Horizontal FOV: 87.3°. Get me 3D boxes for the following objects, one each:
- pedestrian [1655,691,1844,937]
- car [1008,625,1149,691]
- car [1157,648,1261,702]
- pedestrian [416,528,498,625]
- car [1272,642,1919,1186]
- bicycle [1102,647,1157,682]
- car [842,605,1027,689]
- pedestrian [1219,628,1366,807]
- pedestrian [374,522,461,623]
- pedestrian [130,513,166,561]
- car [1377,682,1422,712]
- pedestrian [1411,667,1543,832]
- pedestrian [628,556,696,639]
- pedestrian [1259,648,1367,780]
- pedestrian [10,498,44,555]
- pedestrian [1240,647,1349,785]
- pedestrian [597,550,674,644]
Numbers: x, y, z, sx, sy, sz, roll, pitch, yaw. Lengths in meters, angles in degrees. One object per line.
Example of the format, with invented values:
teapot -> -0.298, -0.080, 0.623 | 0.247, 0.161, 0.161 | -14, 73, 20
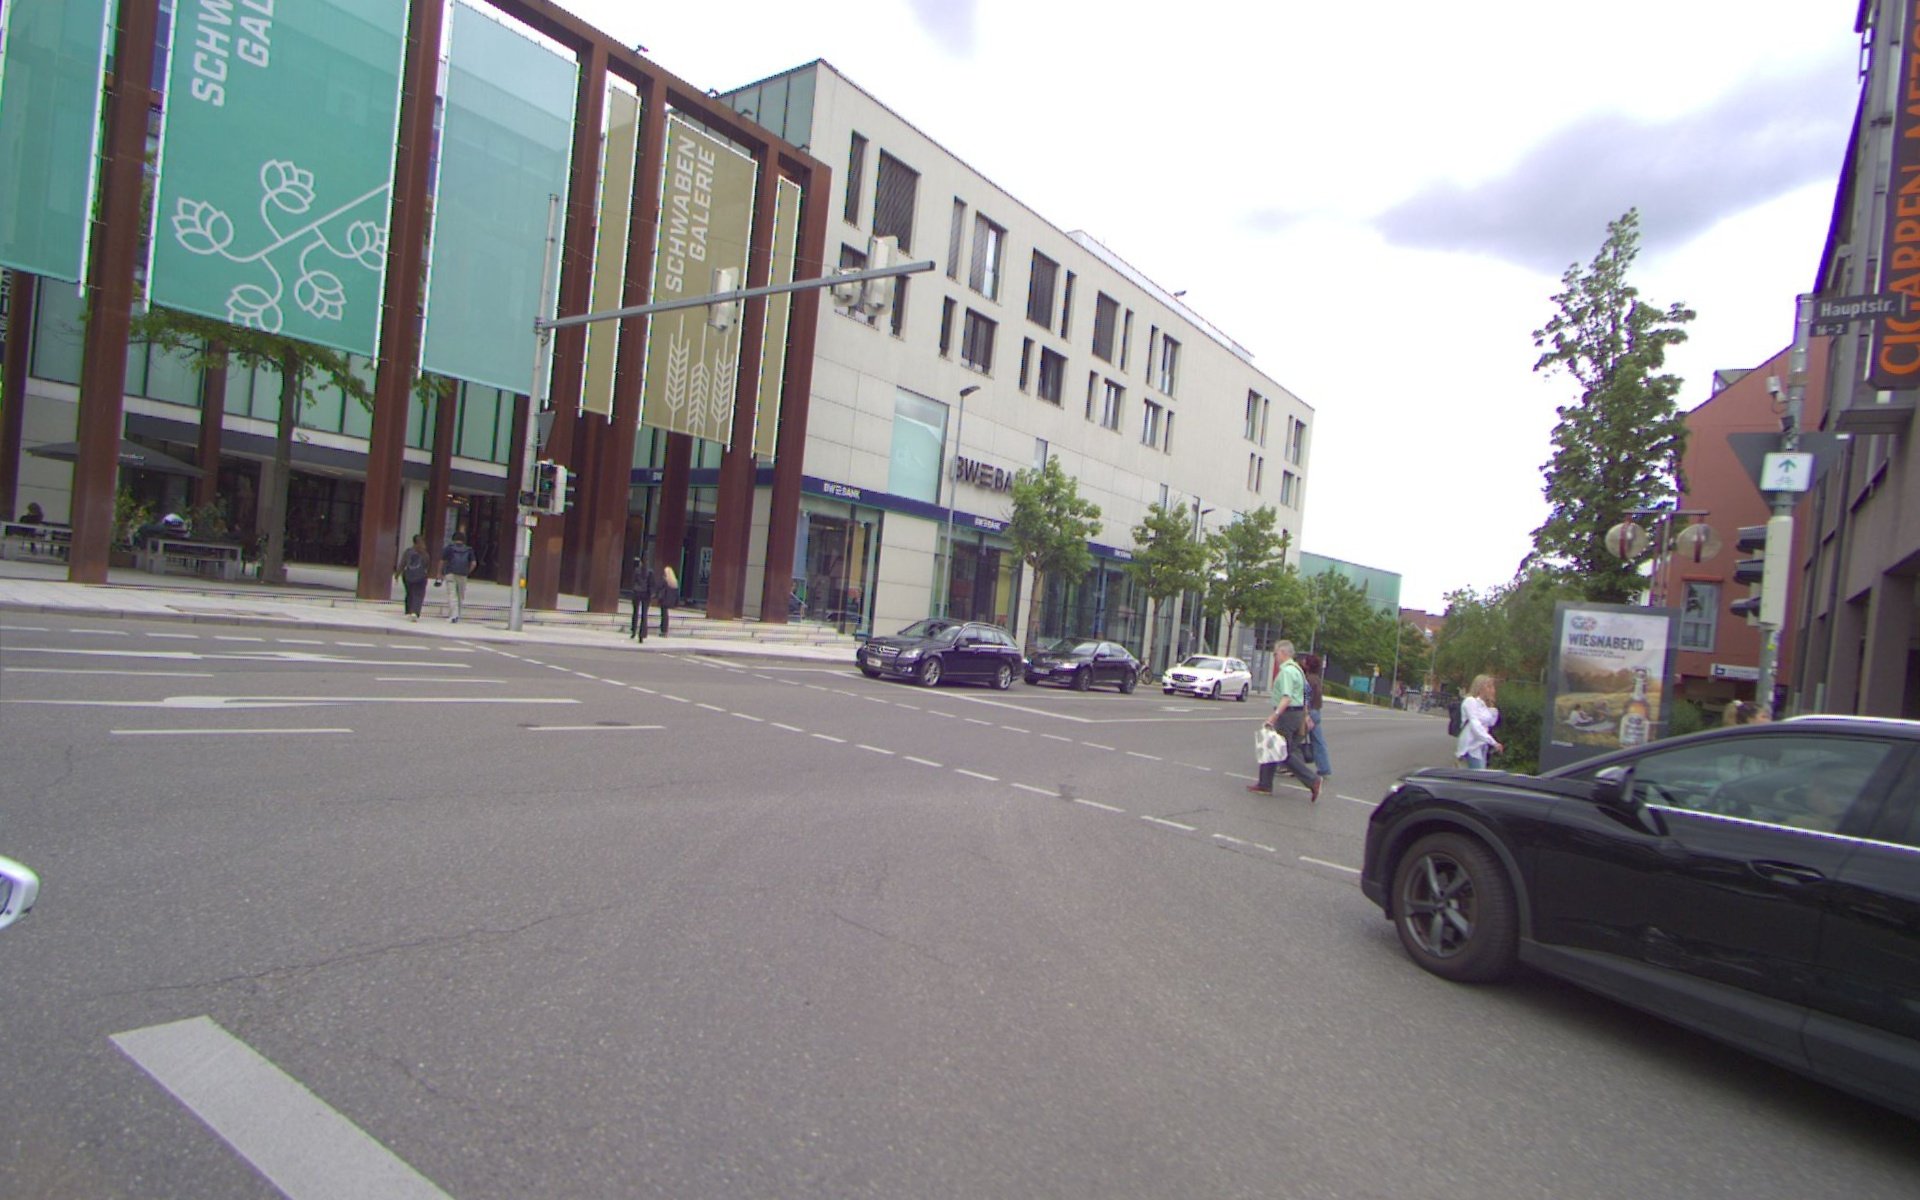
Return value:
pedestrian -> 6.084, 1.595, 7.824 | 0.938, 1.647, 0.741 | 7, 2, 35
car -> 3.402, 1.657, 28.102 | 1.773, 1.421, 4.535 | 7, -1, 37
car -> 8.616, 2.605, 34.530 | 1.772, 1.505, 4.560 | 7, -1, 35
pedestrian -> -9.663, -0.444, 19.329 | 1.103, 1.703, 0.878 | 7, 1, 35
car -> 3.874, 1.279, 4.473 | 1.835, 1.628, 4.832 | 8, -1, -25
bicycle -> 6.699, 2.544, 39.865 | 1.962, 1.115, 0.718 | 7, 1, 38
car -> -0.451, 1.075, 21.987 | 1.772, 1.421, 4.175 | 7, -1, 35
pedestrian -> 3.668, 1.256, 11.078 | 1.093, 1.737, 1.055 | 7, 1, 37
pedestrian -> -9.916, -0.504, 18.402 | 1.103, 1.703, 0.878 | 7, 1, 35
pedestrian -> -22.503, -1.747, 27.878 | 0.783, 1.224, 0.515 | 8, 2, 36
car -> 29.436, 6.512, 67.307 | 1.772, 1.674, 4.448 | 7, -1, 35
pedestrian -> 5.787, 1.633, 11.253 | 1.024, 1.615, 0.821 | 7, 1, 38
pedestrian -> -6.935, -0.055, 23.425 | 1.103, 1.789, 0.878 | 7, 1, 35
pedestrian -> 4.806, 1.523, 13.692 | 1.042, 1.604, 0.830 | 7, 1, 35
pedestrian -> -21.110, -1.664, 22.757 | 0.598, 1.235, 0.447 | 7, 1, 42
pedestrian -> 4.289, 1.465, 12.906 | 0.954, 1.578, 0.829 | 7, 1, 37
pedestrian -> -6.728, -0.056, 20.847 | 1.103, 1.789, 0.878 | 7, 1, 35
